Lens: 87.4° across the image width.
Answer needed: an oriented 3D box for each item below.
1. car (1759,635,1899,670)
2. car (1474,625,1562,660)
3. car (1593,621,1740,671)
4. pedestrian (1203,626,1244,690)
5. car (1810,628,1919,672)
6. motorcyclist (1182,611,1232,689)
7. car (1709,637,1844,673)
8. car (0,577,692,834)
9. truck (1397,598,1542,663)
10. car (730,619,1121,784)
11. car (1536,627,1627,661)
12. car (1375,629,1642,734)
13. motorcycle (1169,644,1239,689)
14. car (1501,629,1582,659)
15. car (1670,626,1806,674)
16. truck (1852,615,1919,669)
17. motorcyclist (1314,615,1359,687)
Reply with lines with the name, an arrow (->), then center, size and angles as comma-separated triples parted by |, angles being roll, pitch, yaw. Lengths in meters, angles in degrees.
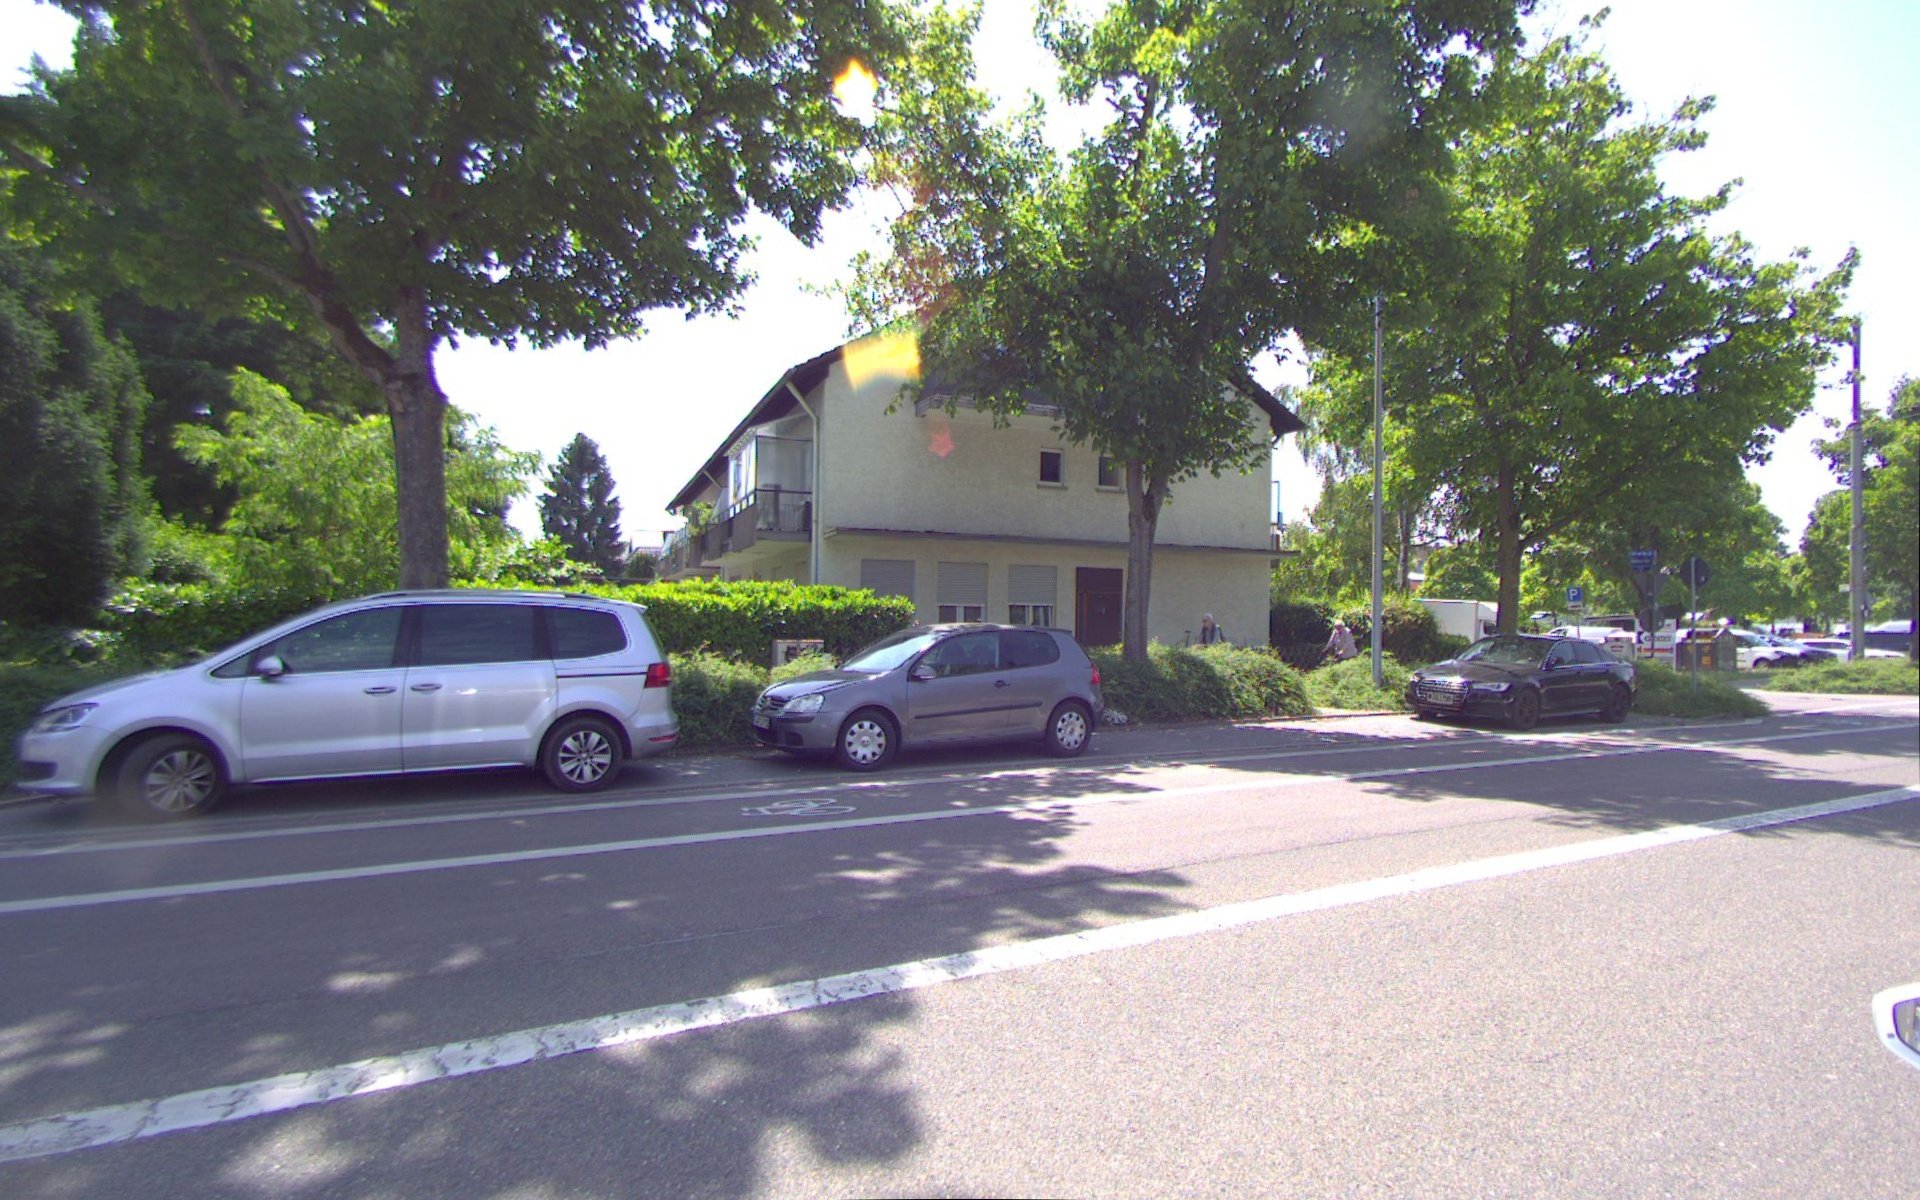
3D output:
car -> 41.624, 2.493, 48.236 | 2.034, 1.508, 4.738 | 1, -2, -30
car -> 31.466, 2.370, 56.790 | 1.628, 1.845, 4.108 | 1, -1, -30
car -> 28.287, 1.787, 40.333 | 2.039, 1.881, 4.421 | 1, -2, -33
pedestrian -> 6.408, 1.391, 24.443 | 0.599, 1.530, 0.792 | 1, -1, -23
car -> 44.546, 2.409, 49.132 | 1.835, 2.021, 4.189 | 1, -2, -30
motorcyclist -> 4.973, 0.998, 20.205 | 0.716, 1.523, 0.584 | 1, 2, -29
car -> 35.430, 2.338, 43.692 | 2.059, 1.422, 4.171 | 1, -2, -33
car -> -4.878, 0.749, 8.661 | 4.630, 1.711, 1.962 | 1, 0, -29
truck -> 27.421, 1.558, 54.365 | 2.126, 3.270, 6.942 | 1, -1, -31
car -> -0.328, 1.020, 11.254 | 4.080, 1.506, 1.668 | 2, 0, -31
car -> 36.299, 2.544, 58.778 | 1.948, 1.844, 4.108 | 2, -1, -30
car -> 9.272, 1.280, 16.873 | 4.757, 1.476, 1.883 | 2, 0, -33
motorcycle -> 4.906, 1.329, 20.193 | 1.354, 0.837, 0.523 | 1, 2, -29
car -> 33.800, 2.543, 58.466 | 1.712, 1.597, 3.729 | 1, -1, -30
car -> 32.608, 2.059, 42.231 | 1.652, 1.860, 4.251 | 1, -1, -27
truck -> 51.178, 2.213, 53.074 | 2.402, 2.796, 5.556 | 1, -1, -28
motorcyclist -> 8.274, 1.116, 22.077 | 0.654, 1.523, 0.584 | 1, 2, -29
